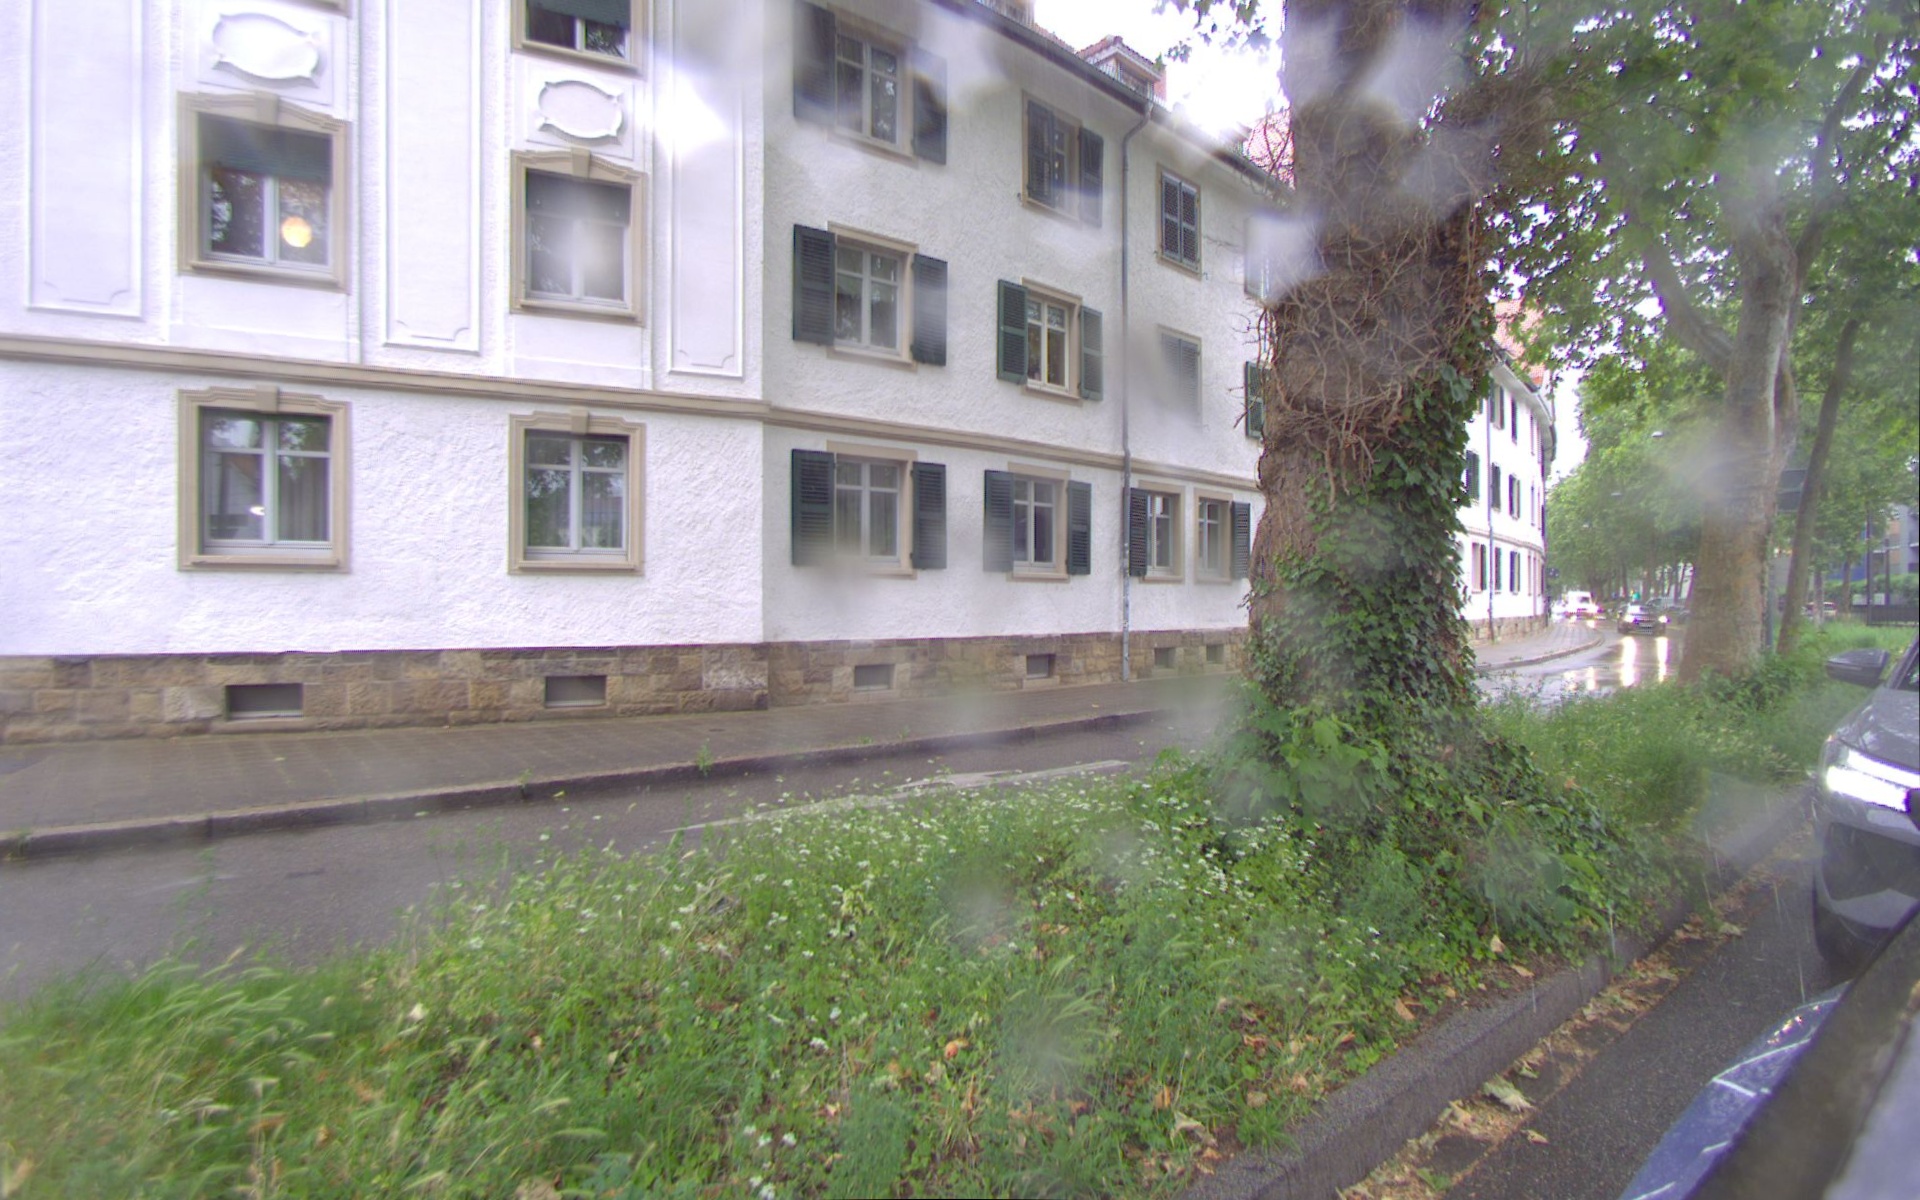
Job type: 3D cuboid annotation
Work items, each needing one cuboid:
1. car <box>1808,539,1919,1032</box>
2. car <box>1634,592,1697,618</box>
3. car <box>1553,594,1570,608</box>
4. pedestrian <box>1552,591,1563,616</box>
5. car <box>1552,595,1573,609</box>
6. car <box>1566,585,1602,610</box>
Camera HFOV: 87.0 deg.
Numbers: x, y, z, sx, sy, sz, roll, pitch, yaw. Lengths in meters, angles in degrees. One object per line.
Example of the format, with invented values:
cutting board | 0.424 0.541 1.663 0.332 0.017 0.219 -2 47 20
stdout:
car | 5.152 0.617 4.320 4.039 1.662 1.913 0 0 -44
car | 55.901 0.382 80.270 3.969 2.039 1.977 0 -1 32
car | 96.944 0.185 163.141 1.983 2.038 3.961 5 3 28
pedestrian | 45.329 0.248 76.759 0.668 1.845 0.672 0 0 31
car | 68.289 0.189 114.738 1.816 1.545 3.959 0 0 29
car | 58.977 -0.234 95.727 2.173 2.292 5.367 0 0 24
